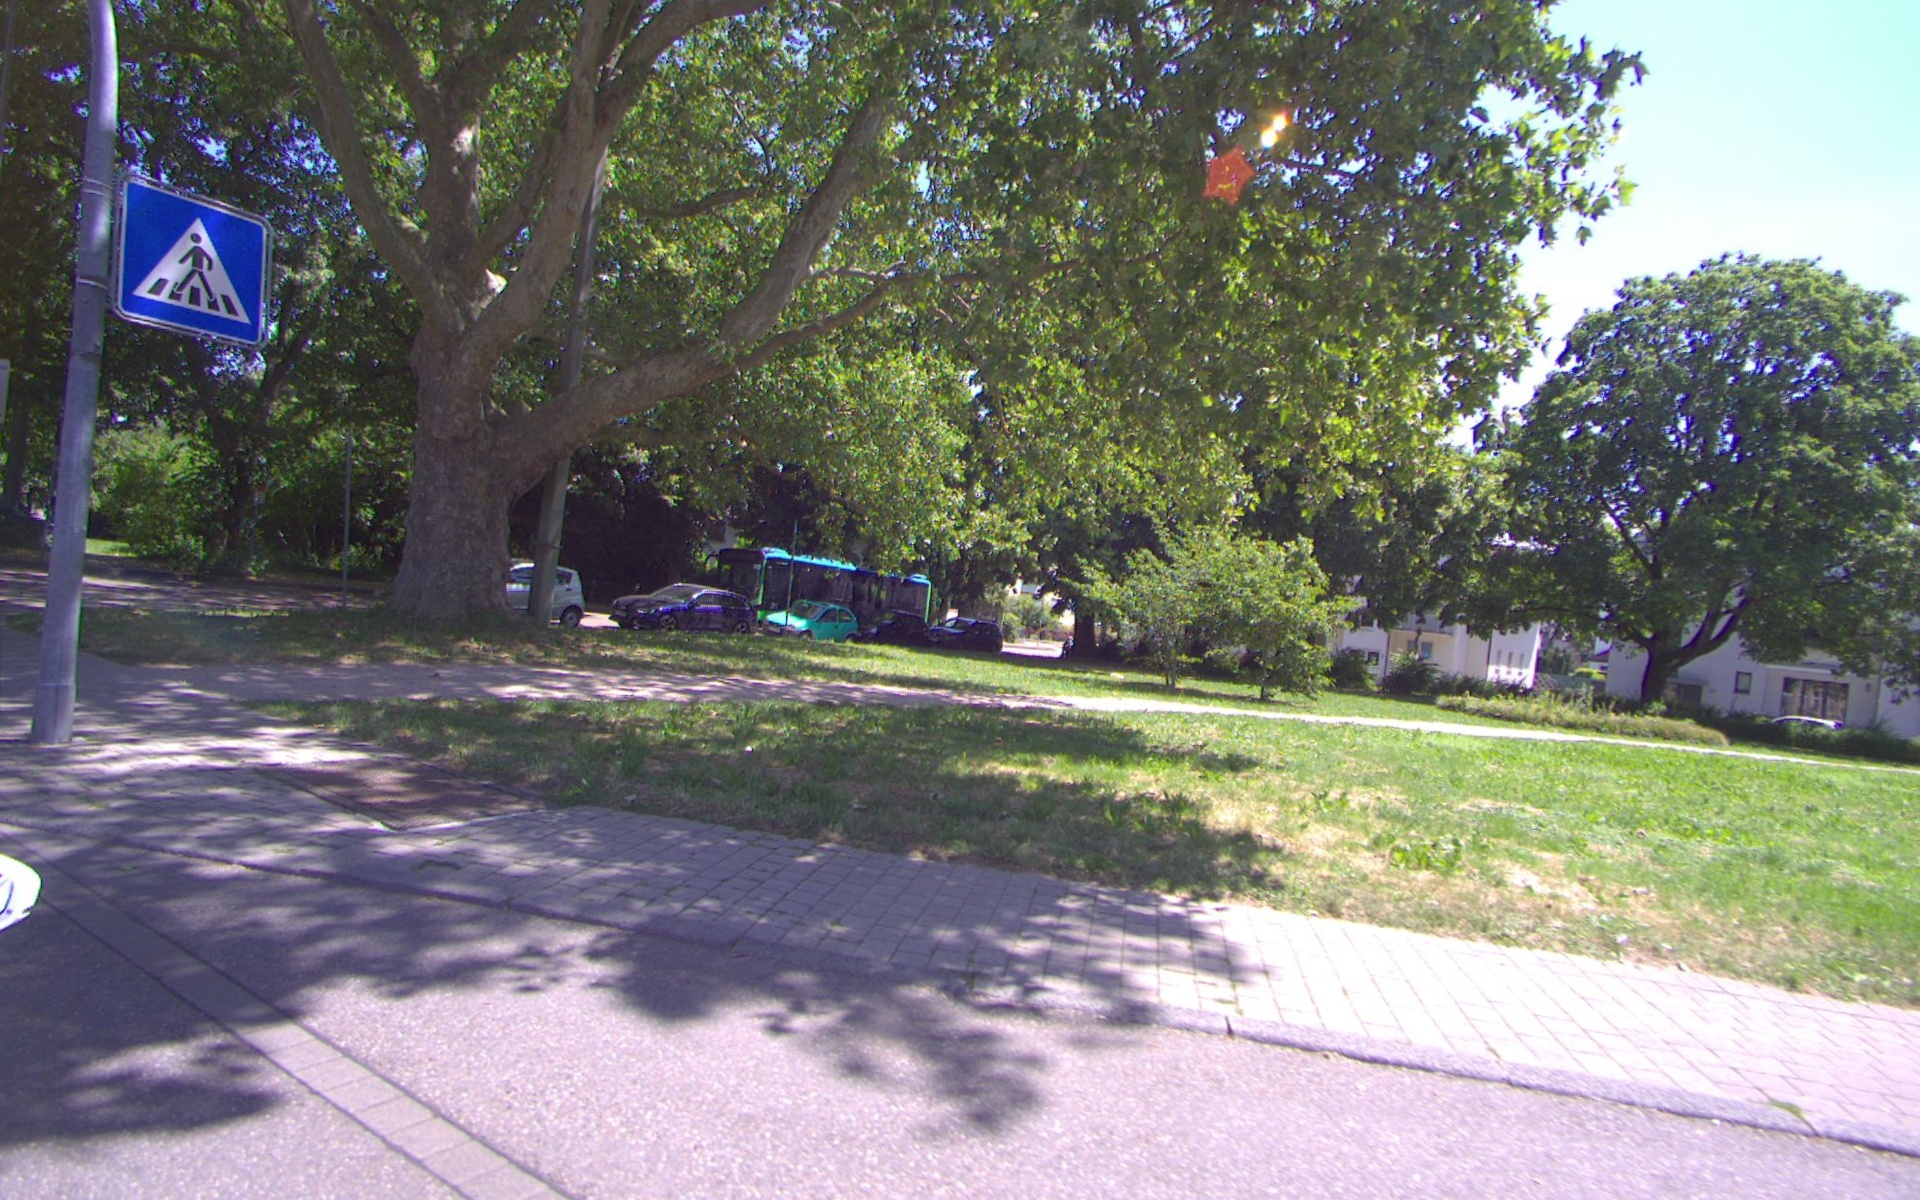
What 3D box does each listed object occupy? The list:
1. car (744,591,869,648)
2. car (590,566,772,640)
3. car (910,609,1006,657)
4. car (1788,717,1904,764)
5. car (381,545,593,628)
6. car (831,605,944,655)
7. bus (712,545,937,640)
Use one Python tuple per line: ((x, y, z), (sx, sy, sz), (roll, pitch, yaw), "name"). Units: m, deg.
((-5.074, 0.691, 33.686), (1.967, 1.471, 3.887), (5, -2, 32), "car")
((-7.862, 0.139, 28.848), (1.967, 1.627, 4.828), (6, -1, 33), "car")
((-0.038, 1.417, 42.174), (1.968, 1.627, 4.101), (5, -2, 34), "car")
((38.686, 6.099, 43.981), (3.657, 1.450, 1.458), (6, 0, 43), "car")
((-11.262, -0.273, 24.215), (1.968, 1.484, 4.107), (6, -1, 34), "car")
((-2.643, 1.151, 37.745), (1.967, 1.433, 4.343), (5, -2, 32), "car")
((-5.395, -0.119, 43.889), (2.231, 3.013, 12.394), (5, -1, 31), "bus")
